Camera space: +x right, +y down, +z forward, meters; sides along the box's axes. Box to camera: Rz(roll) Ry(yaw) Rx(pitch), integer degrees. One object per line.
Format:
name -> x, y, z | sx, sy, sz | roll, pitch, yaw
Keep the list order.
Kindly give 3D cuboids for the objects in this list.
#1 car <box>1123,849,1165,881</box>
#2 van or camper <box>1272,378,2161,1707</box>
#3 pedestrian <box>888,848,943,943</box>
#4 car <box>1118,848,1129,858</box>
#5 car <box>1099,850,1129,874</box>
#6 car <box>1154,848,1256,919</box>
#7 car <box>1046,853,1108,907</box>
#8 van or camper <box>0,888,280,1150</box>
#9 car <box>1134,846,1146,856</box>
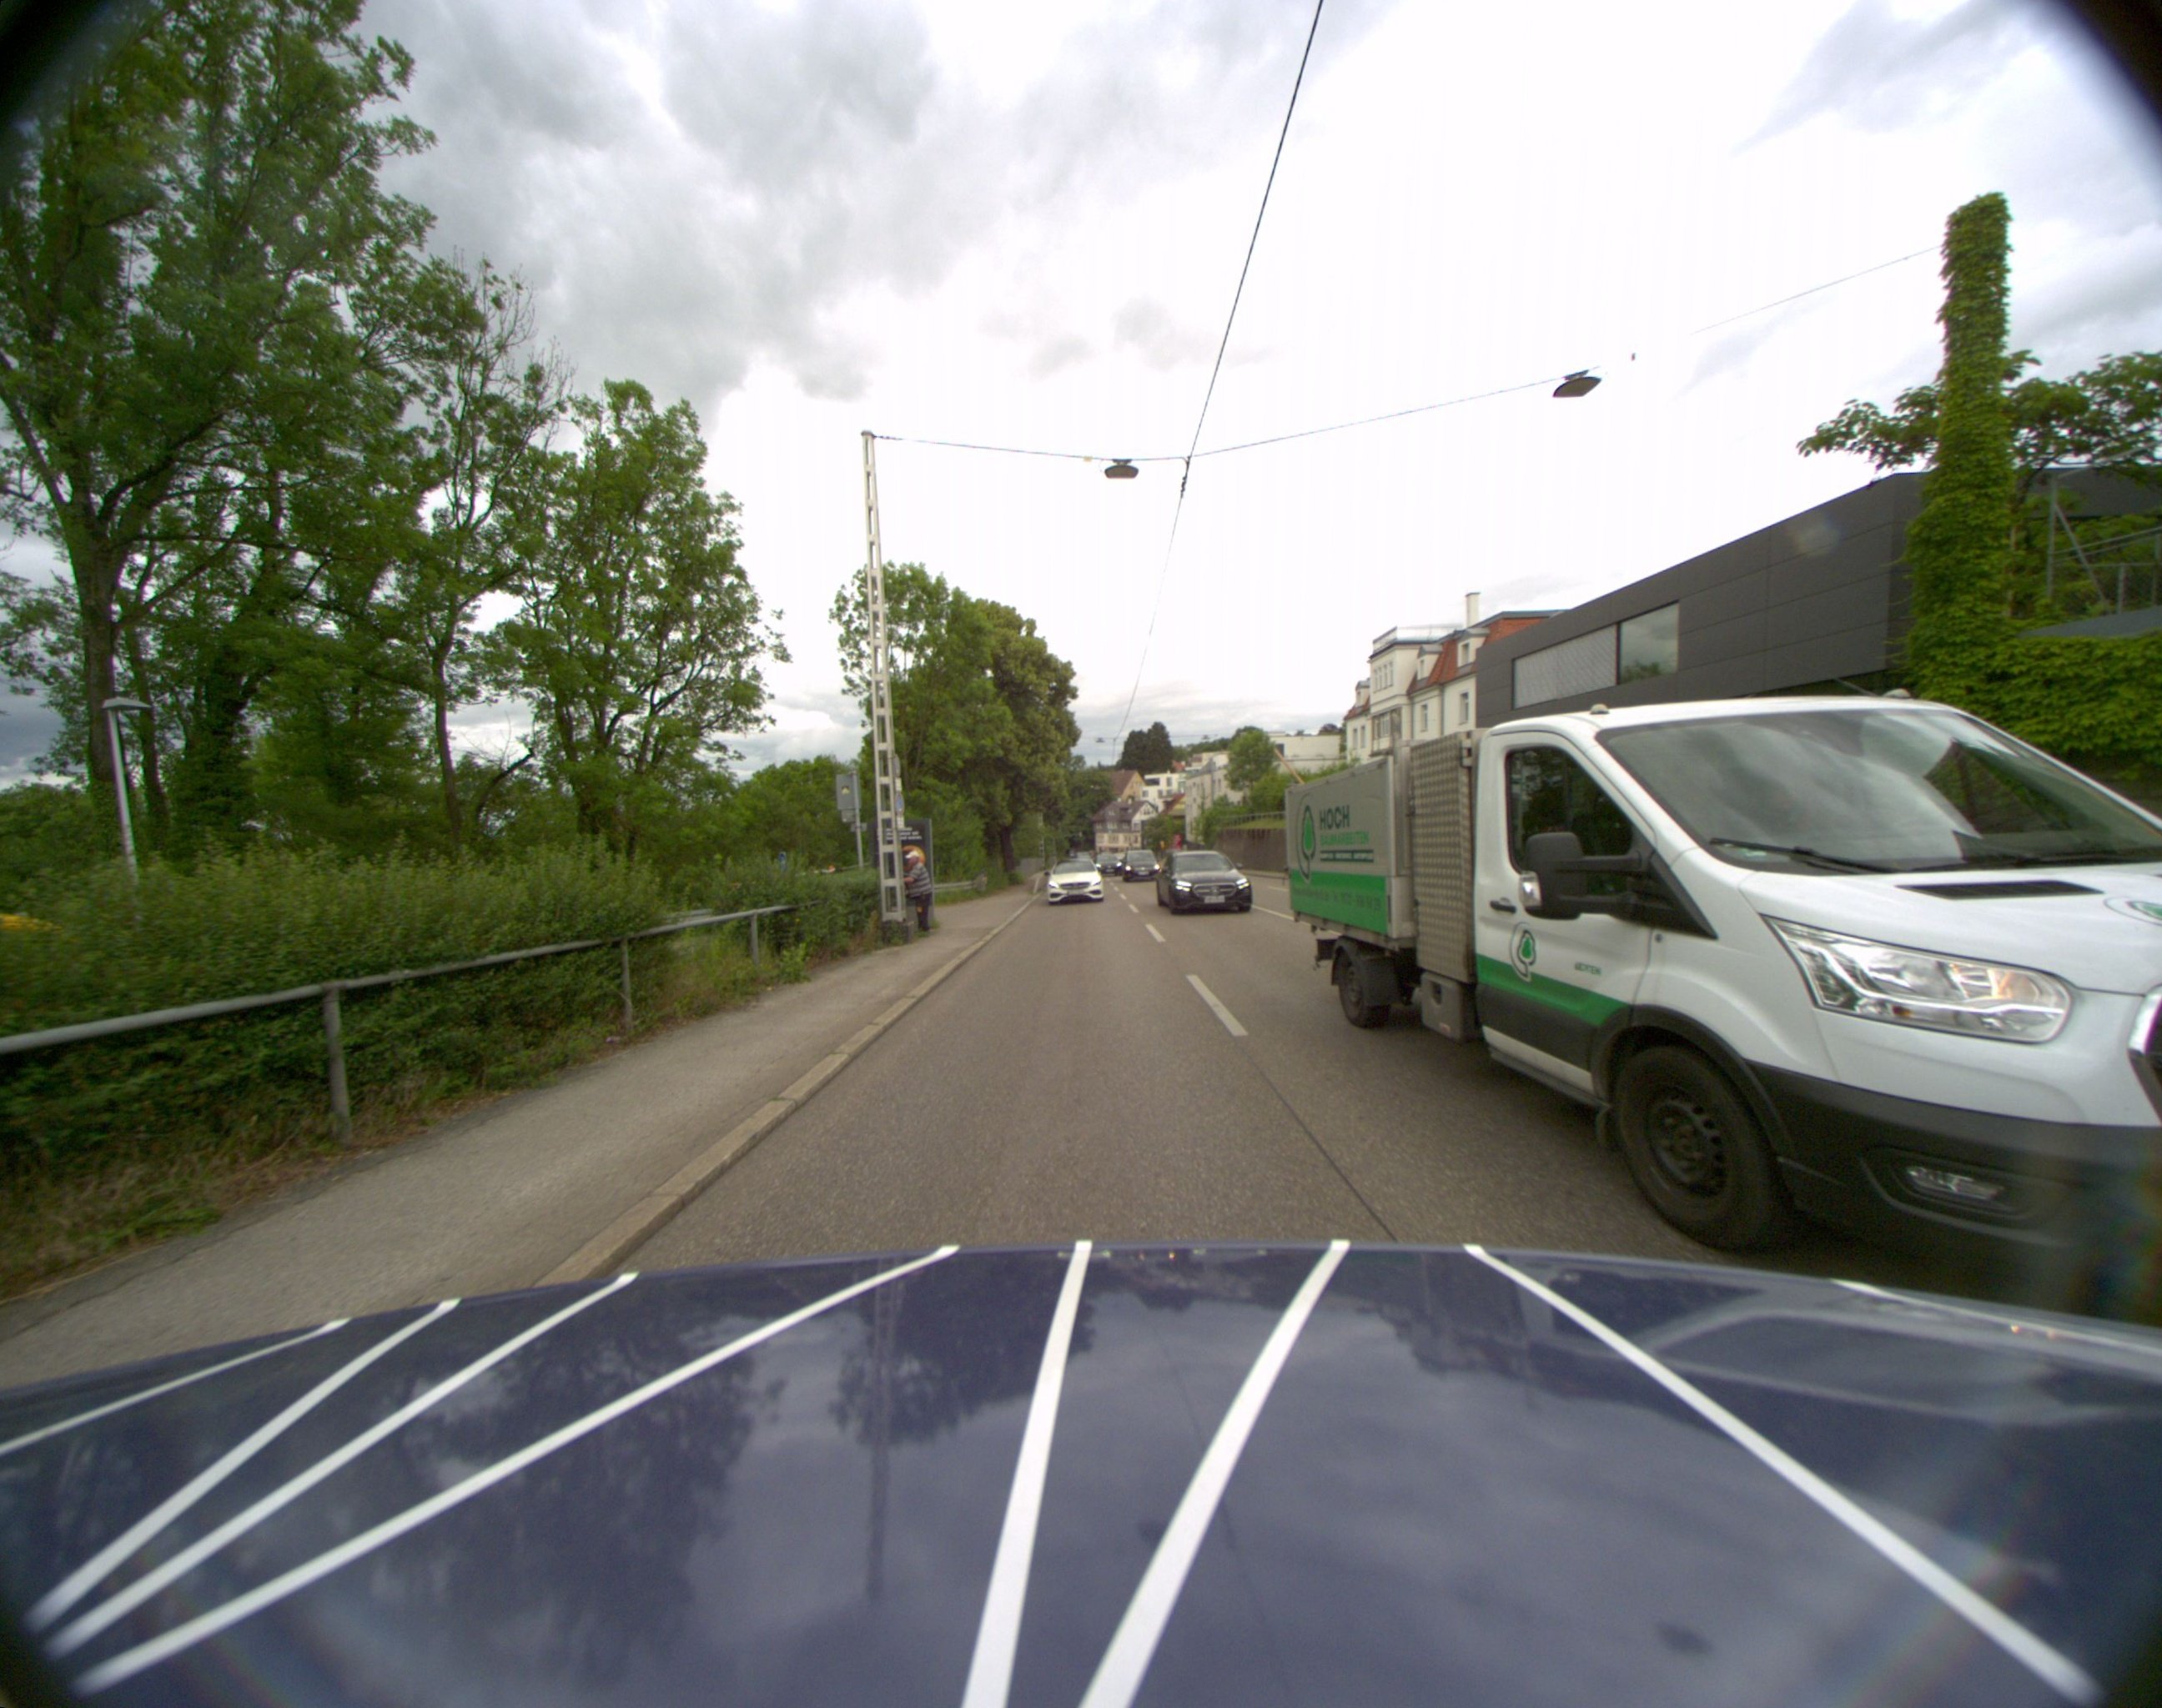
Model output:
car -> 3.251, 0.524, 39.760 | 1.878, 1.521, 4.000 | -2, 1, 1
van or camper -> 3.195, 0.263, 4.461 | 2.349, 2.647, 5.962 | -3, 2, -2
pedestrian -> -3.340, 0.816, 15.369 | 0.814, 1.873, 0.949 | -1, 1, 5
car -> 7.717, -0.150, 138.772 | 1.709, 1.702, 3.868 | -2, 0, 1
car -> 2.231, 0.518, 51.747 | 1.878, 1.521, 4.000 | -2, 1, 1
car -> 3.014, 0.643, 19.289 | 1.878, 1.521, 4.335 | -2, 1, 1
car -> -0.087, 0.799, 25.756 | 1.809, 1.521, 4.000 | -5, 1, 1
van or camper -> -11.302, 1.602, 6.261 | 2.220, 2.316, 6.184 | -1, 0, 11
car -> 10.574, -0.480, 136.292 | 1.709, 1.702, 3.868 | -2, 0, 1
